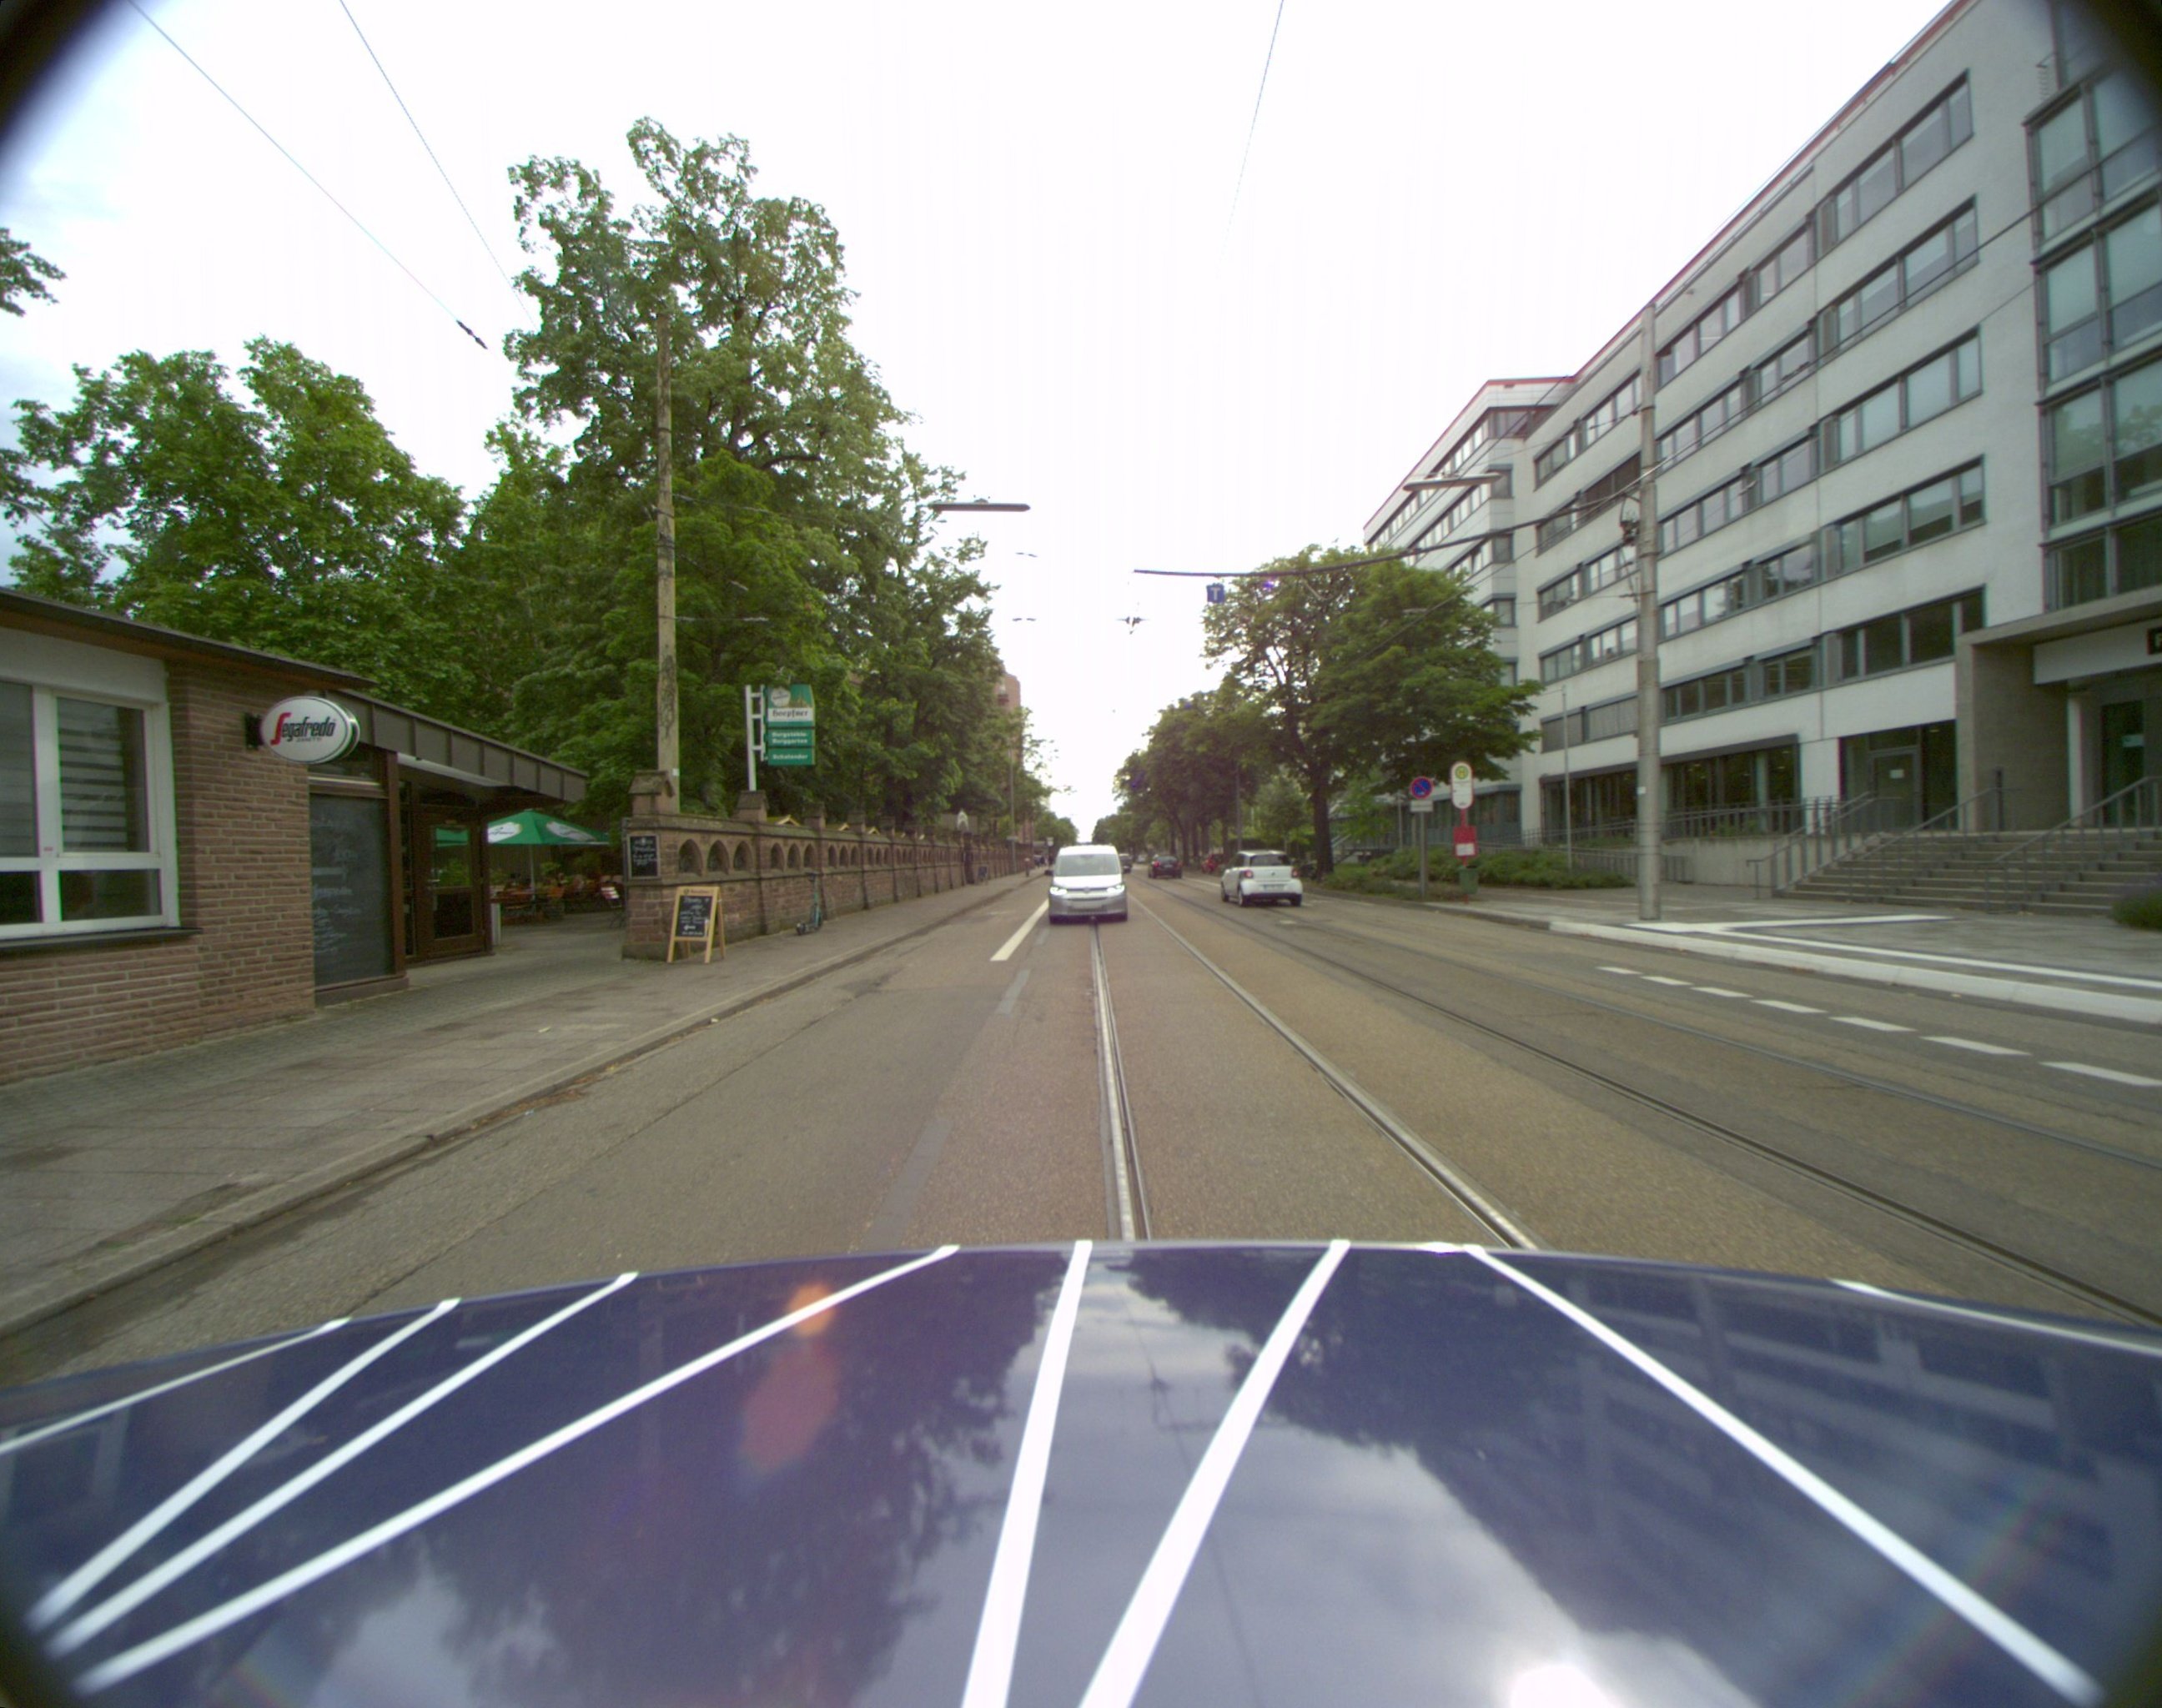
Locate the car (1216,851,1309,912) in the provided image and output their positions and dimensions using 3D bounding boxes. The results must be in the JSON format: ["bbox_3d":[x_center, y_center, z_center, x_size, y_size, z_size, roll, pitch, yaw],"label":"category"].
[{"bbox_3d":[5.065,0.716,21.669,1.708,1.521,3.741,-1,1,0],"label":"car"}]

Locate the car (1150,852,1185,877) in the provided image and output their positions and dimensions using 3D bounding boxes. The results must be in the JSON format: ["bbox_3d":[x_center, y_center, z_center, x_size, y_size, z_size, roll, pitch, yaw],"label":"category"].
[{"bbox_3d":[5.266,0.649,46.802,1.752,1.477,4.063,-1,0,1],"label":"car"}]

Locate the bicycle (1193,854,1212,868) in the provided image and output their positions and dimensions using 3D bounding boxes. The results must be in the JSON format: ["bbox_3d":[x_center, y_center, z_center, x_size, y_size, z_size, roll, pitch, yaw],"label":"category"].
[{"bbox_3d":[10.409,0.607,65.045,1.473,1.134,0.617,-3,1,-1],"label":"bicycle"}]

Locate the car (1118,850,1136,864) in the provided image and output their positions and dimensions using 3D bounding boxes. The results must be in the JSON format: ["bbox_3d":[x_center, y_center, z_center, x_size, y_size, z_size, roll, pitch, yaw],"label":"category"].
[{"bbox_3d":[5.437,0.387,90.544,1.846,1.644,4.389,0,0,1],"label":"car"}]

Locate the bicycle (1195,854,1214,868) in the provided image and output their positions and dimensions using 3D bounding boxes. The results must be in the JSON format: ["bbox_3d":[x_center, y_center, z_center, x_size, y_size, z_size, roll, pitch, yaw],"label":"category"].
[{"bbox_3d":[10.452,0.611,64.540,1.473,1.134,0.617,-2,1,-1],"label":"bicycle"}]

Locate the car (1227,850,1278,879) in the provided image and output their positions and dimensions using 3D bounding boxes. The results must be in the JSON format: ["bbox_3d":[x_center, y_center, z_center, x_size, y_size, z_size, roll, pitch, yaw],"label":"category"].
[{"bbox_3d":[9.879,0.570,44.084,1.886,1.485,4.753,-3,0,1],"label":"car"}]

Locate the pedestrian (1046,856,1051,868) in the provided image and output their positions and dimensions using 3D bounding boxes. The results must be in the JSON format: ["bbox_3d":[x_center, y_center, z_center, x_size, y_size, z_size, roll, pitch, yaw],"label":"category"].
[{"bbox_3d":[-4.835,1.158,111.586,0.669,1.703,0.997,2,1,-2],"label":"pedestrian"}]

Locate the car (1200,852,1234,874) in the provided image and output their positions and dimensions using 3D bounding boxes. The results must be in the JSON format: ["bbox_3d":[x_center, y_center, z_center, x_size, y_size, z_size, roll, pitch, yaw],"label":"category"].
[{"bbox_3d":[10.132,0.627,56.773,1.632,1.439,3.756,-5,1,-3],"label":"car"}]

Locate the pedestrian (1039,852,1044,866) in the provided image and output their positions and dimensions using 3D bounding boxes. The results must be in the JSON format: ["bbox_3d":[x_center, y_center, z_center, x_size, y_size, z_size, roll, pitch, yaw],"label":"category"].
[{"bbox_3d":[-4.695,0.577,89.653,0.559,1.646,0.771,0,1,-2],"label":"pedestrian"}]

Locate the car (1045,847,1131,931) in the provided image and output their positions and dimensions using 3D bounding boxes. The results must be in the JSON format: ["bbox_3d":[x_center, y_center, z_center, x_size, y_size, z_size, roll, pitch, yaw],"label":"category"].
[{"bbox_3d":[0.182,0.735,19.035,1.850,1.797,4.936,-1,1,1],"label":"car"}]

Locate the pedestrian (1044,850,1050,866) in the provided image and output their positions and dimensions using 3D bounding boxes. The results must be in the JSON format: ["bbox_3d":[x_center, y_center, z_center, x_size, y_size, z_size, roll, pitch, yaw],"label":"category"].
[{"bbox_3d":[-4.025,0.485,89.686,0.723,1.834,0.897,0,1,-2],"label":"pedestrian"}]

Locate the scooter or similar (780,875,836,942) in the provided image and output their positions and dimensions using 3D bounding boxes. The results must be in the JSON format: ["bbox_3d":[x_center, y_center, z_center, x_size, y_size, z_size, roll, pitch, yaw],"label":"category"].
[{"bbox_3d":[-5.488,1.073,15.329,0.578,1.232,1.410,2,1,1],"label":"scooter or similar"}]

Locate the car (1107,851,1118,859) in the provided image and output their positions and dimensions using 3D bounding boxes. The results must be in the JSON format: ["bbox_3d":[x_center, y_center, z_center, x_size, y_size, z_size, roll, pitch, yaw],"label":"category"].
[{"bbox_3d":[5.721,0.178,139.384,1.745,1.490,4.260,-2,0,-1],"label":"car"}]

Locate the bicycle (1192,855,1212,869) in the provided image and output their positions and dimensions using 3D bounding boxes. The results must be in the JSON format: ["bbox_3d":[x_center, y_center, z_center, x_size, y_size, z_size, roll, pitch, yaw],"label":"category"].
[{"bbox_3d":[10.111,0.658,63.541,1.474,1.085,0.616,-3,1,-12],"label":"bicycle"}]

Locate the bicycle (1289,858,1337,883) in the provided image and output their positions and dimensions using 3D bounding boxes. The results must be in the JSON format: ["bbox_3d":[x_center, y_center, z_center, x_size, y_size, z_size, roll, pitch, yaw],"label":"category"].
[{"bbox_3d":[10.121,0.710,33.116,1.834,1.047,0.741,-2,0,-8],"label":"bicycle"}]

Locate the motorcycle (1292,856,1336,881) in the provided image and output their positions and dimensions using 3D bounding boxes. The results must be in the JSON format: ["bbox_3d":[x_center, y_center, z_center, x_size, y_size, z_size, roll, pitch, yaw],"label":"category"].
[{"bbox_3d":[10.785,0.651,35.210,1.793,1.044,0.732,-3,1,-6],"label":"motorcycle"}]
